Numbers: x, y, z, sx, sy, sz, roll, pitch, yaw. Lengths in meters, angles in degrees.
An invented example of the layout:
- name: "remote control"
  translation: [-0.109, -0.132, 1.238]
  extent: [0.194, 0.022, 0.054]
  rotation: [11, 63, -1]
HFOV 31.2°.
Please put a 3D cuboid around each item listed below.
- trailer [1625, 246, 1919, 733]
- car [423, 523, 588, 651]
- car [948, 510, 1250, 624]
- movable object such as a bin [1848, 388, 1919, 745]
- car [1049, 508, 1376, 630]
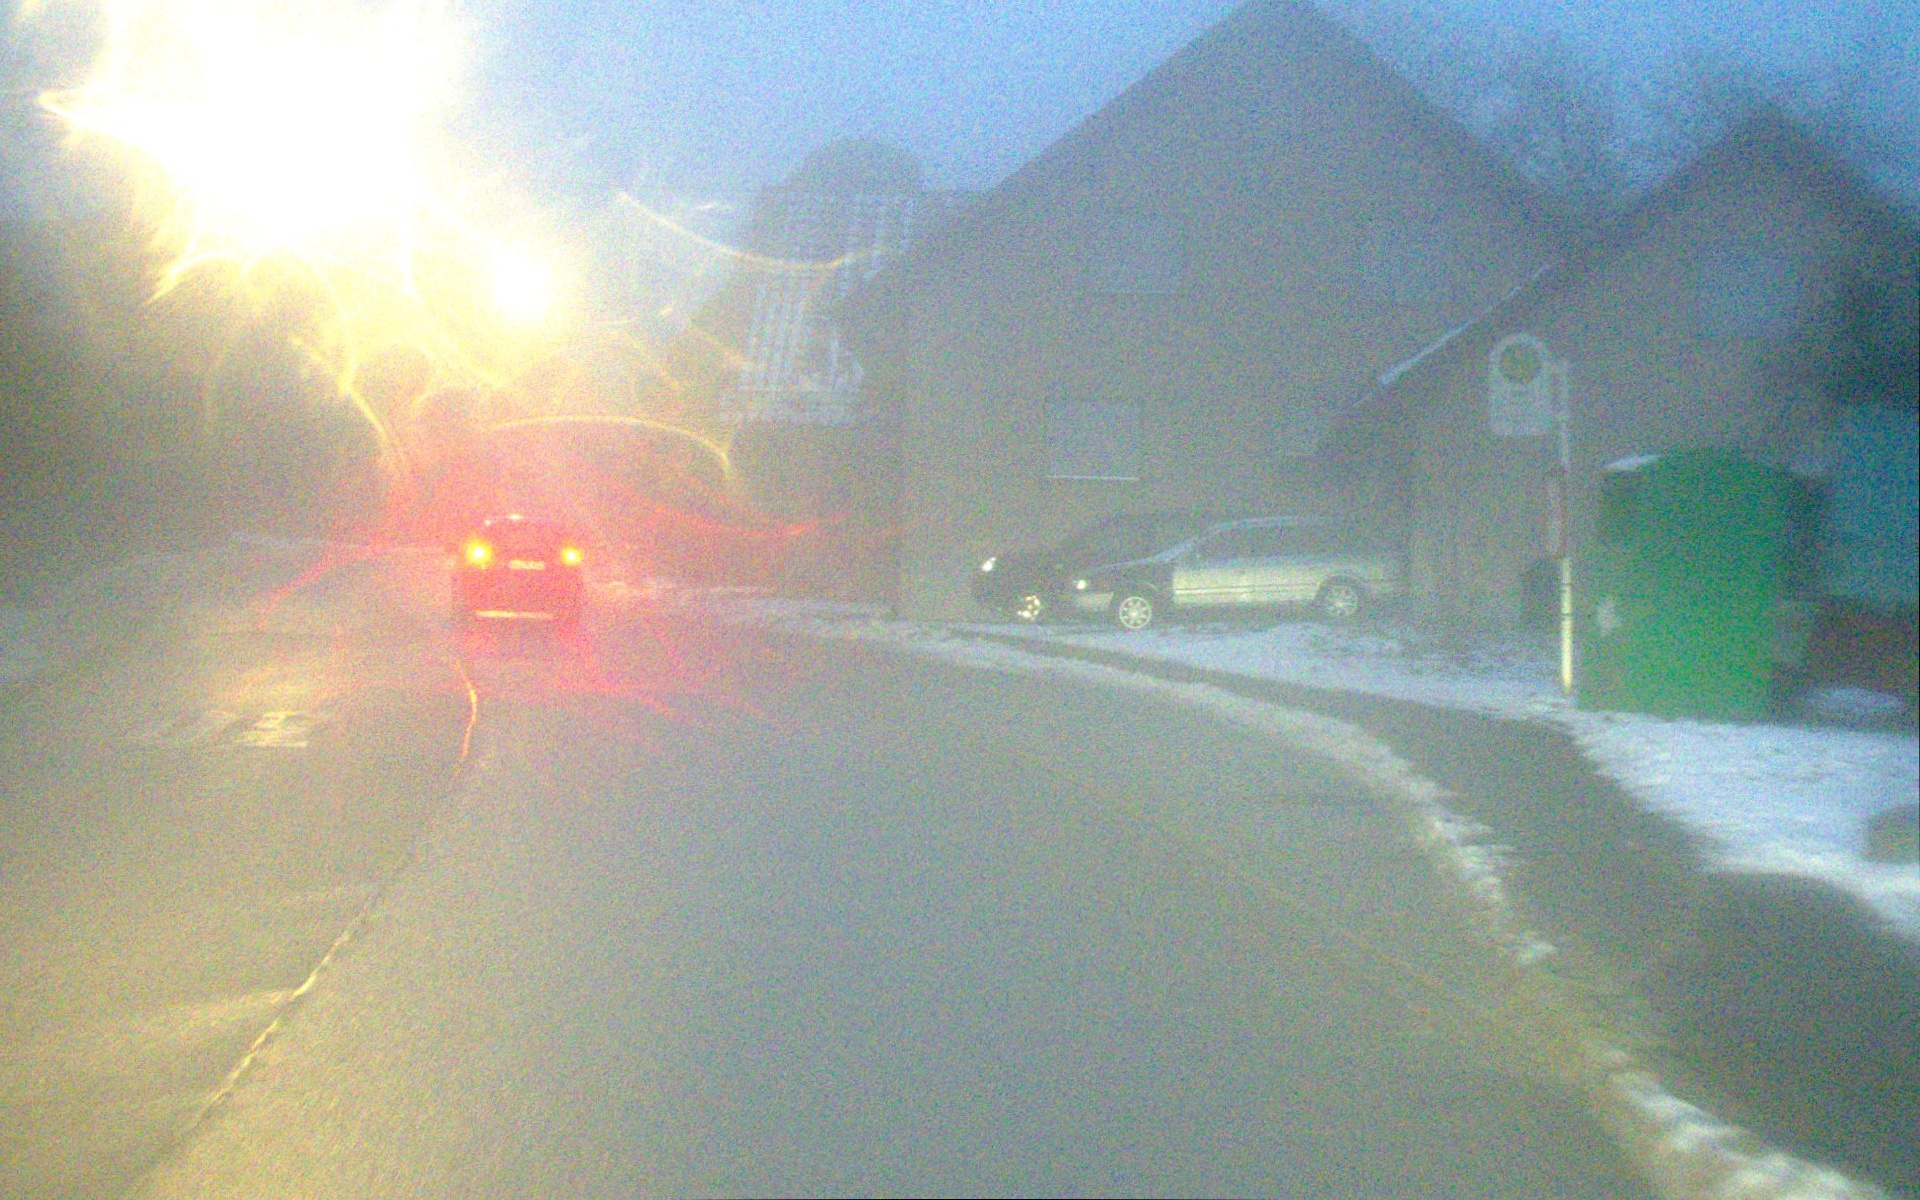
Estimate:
- name: "trailer"
  translation: [7.577, -0.795, 27.815]
  extent: [2.874, 3.548, 5.063]
  rotation: [2, 0, -6]
- name: "car"
  translation: [-6.607, -0.148, 49.677]
  extent: [1.993, 1.731, 3.879]
  rotation: [0, -1, -13]
- name: "car"
  translation: [1.932, -0.451, 48.692]
  extent: [4.158, 1.554, 1.946]
  rotation: [0, -1, -1]
- name: "movable object such as a bin"
  translation: [7.796, -0.198, 23.209]
  extent: [2.387, 2.460, 4.516]
  rotation: [2, 0, 0]
- name: "car"
  translation: [3.347, -0.394, 45.709]
  extent: [4.243, 1.554, 2.000]
  rotation: [0, -1, 4]
